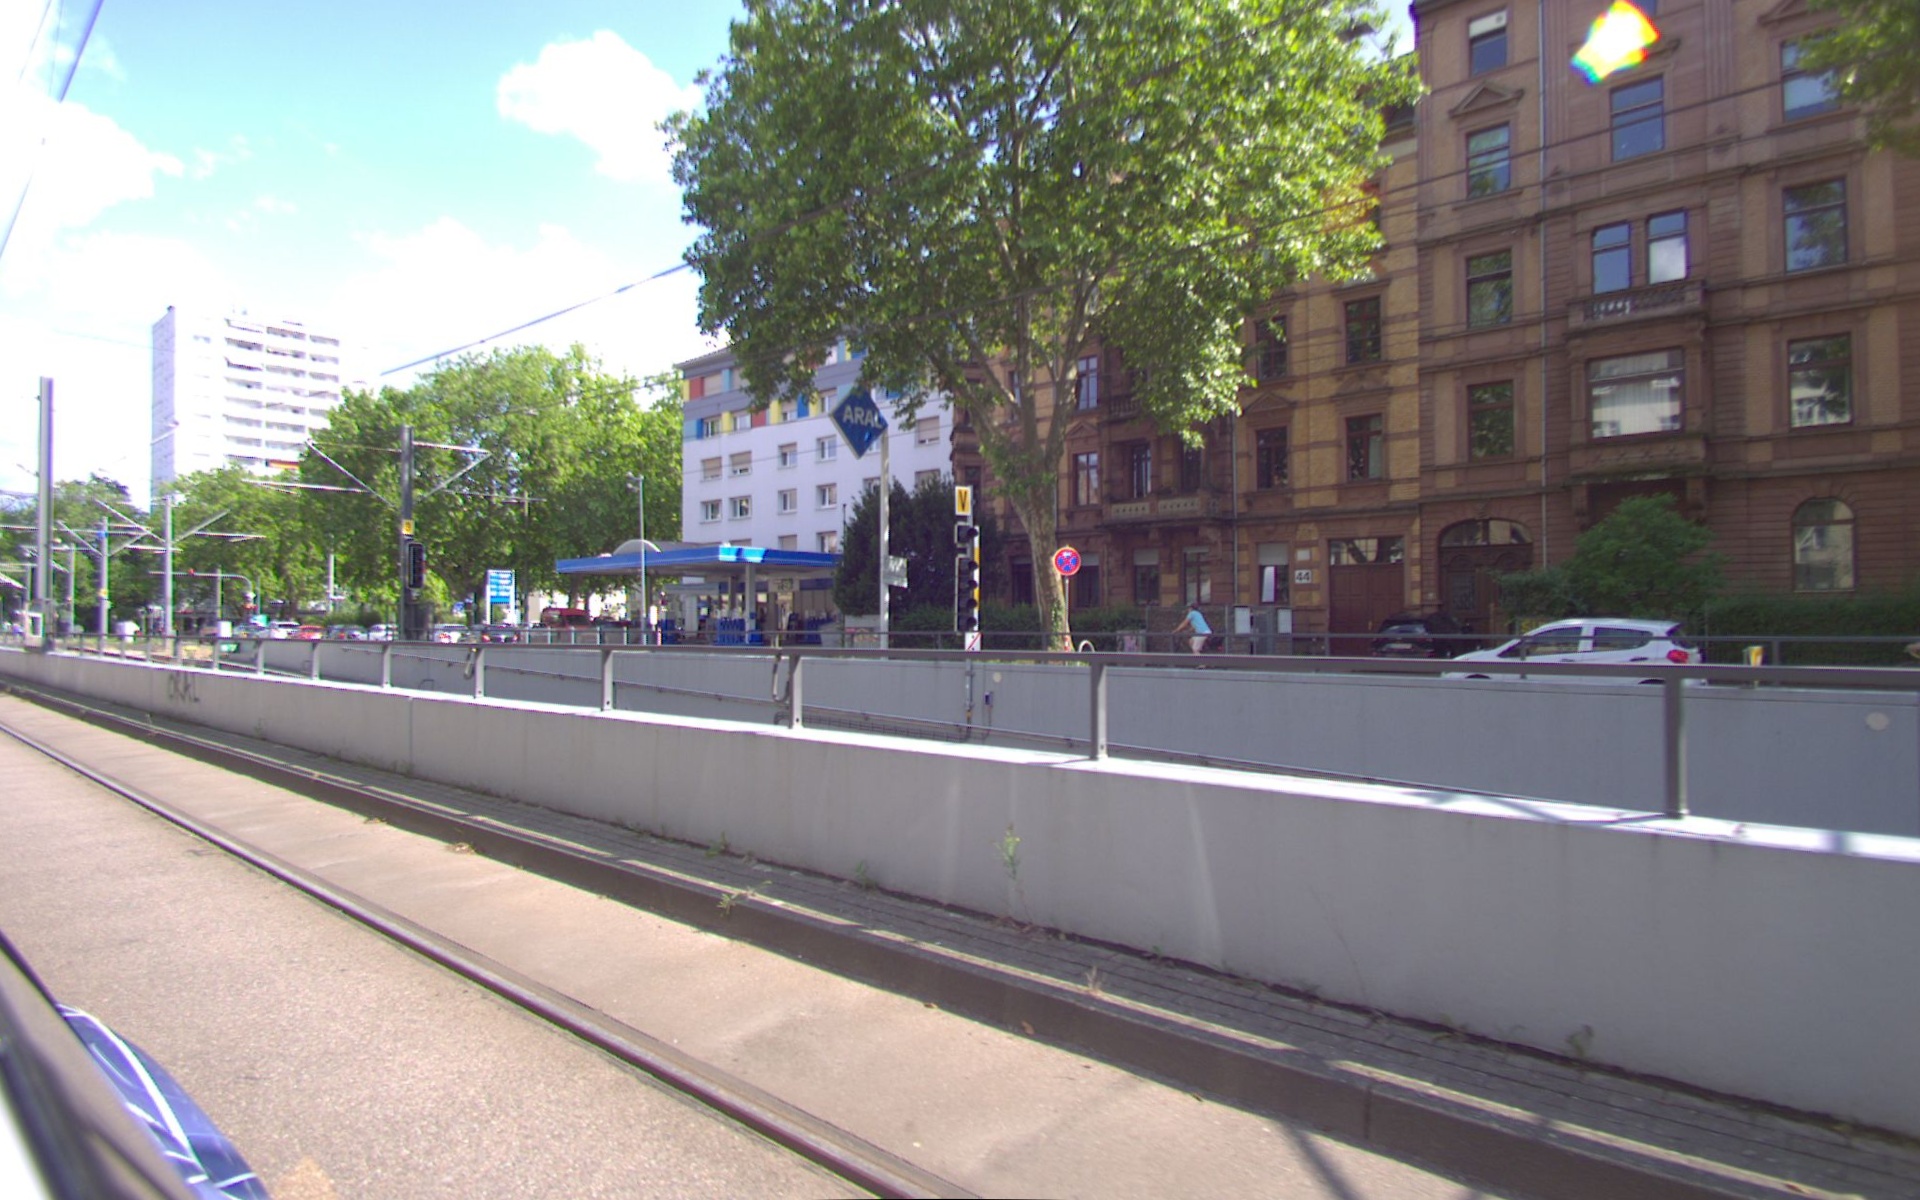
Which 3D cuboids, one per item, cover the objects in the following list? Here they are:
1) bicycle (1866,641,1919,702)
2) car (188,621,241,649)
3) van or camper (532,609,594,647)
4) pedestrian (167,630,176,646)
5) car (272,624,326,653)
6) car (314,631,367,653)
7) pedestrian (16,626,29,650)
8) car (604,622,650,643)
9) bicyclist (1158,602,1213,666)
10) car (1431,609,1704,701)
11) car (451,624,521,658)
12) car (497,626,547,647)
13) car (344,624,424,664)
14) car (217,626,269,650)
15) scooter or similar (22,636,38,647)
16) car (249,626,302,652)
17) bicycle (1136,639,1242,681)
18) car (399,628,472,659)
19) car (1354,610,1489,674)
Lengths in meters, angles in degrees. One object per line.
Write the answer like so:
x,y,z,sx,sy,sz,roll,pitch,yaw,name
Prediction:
15.362,1.109,15.529,2.148,0.920,0.529,-2,-2,41,bicycle
-56.343,2.668,76.466,5.332,2.002,2.053,-4,-4,41,car
-29.301,2.072,74.615,5.348,2.662,2.079,-2,-5,42,van or camper
-88.388,4.249,113.481,0.648,1.716,0.662,-2,-2,43,pedestrian
-40.461,2.363,61.905,4.141,1.619,1.695,-4,-4,41,car
-35.274,2.408,57.604,3.633,1.198,1.599,-2,-2,42,car
-70.265,2.868,75.851,0.556,1.746,0.521,-2,-4,36,pedestrian
-26.026,2.546,78.976,3.997,1.616,1.510,-2,-4,40,car
5.263,0.788,23.585,1.044,1.466,0.681,-2,-2,41,bicyclist
9.581,0.872,16.122,3.491,1.313,1.480,-2,-5,43,car
-20.699,1.780,44.112,1.649,1.427,3.785,1,-2,-44,car
-31.500,2.619,72.783,3.997,1.421,1.734,-2,-3,40,car
-30.365,2.347,53.309,5.074,1.617,1.928,-6,4,41,car
-50.951,2.726,71.862,5.151,1.665,1.847,-2,-4,41,car
-70.011,3.097,76.192,0.552,0.810,0.830,-2,-2,36,scooter or similar
-45.262,2.521,66.876,4.676,1.619,1.742,-1,-2,41,car
5.298,1.377,23.542,2.367,0.920,0.664,-2,-2,41,bicycle
-25.215,2.093,48.605,4.404,1.427,1.703,-2,-3,42,car
11.820,1.016,25.818,2.000,1.494,3.943,-2,-2,43,car
